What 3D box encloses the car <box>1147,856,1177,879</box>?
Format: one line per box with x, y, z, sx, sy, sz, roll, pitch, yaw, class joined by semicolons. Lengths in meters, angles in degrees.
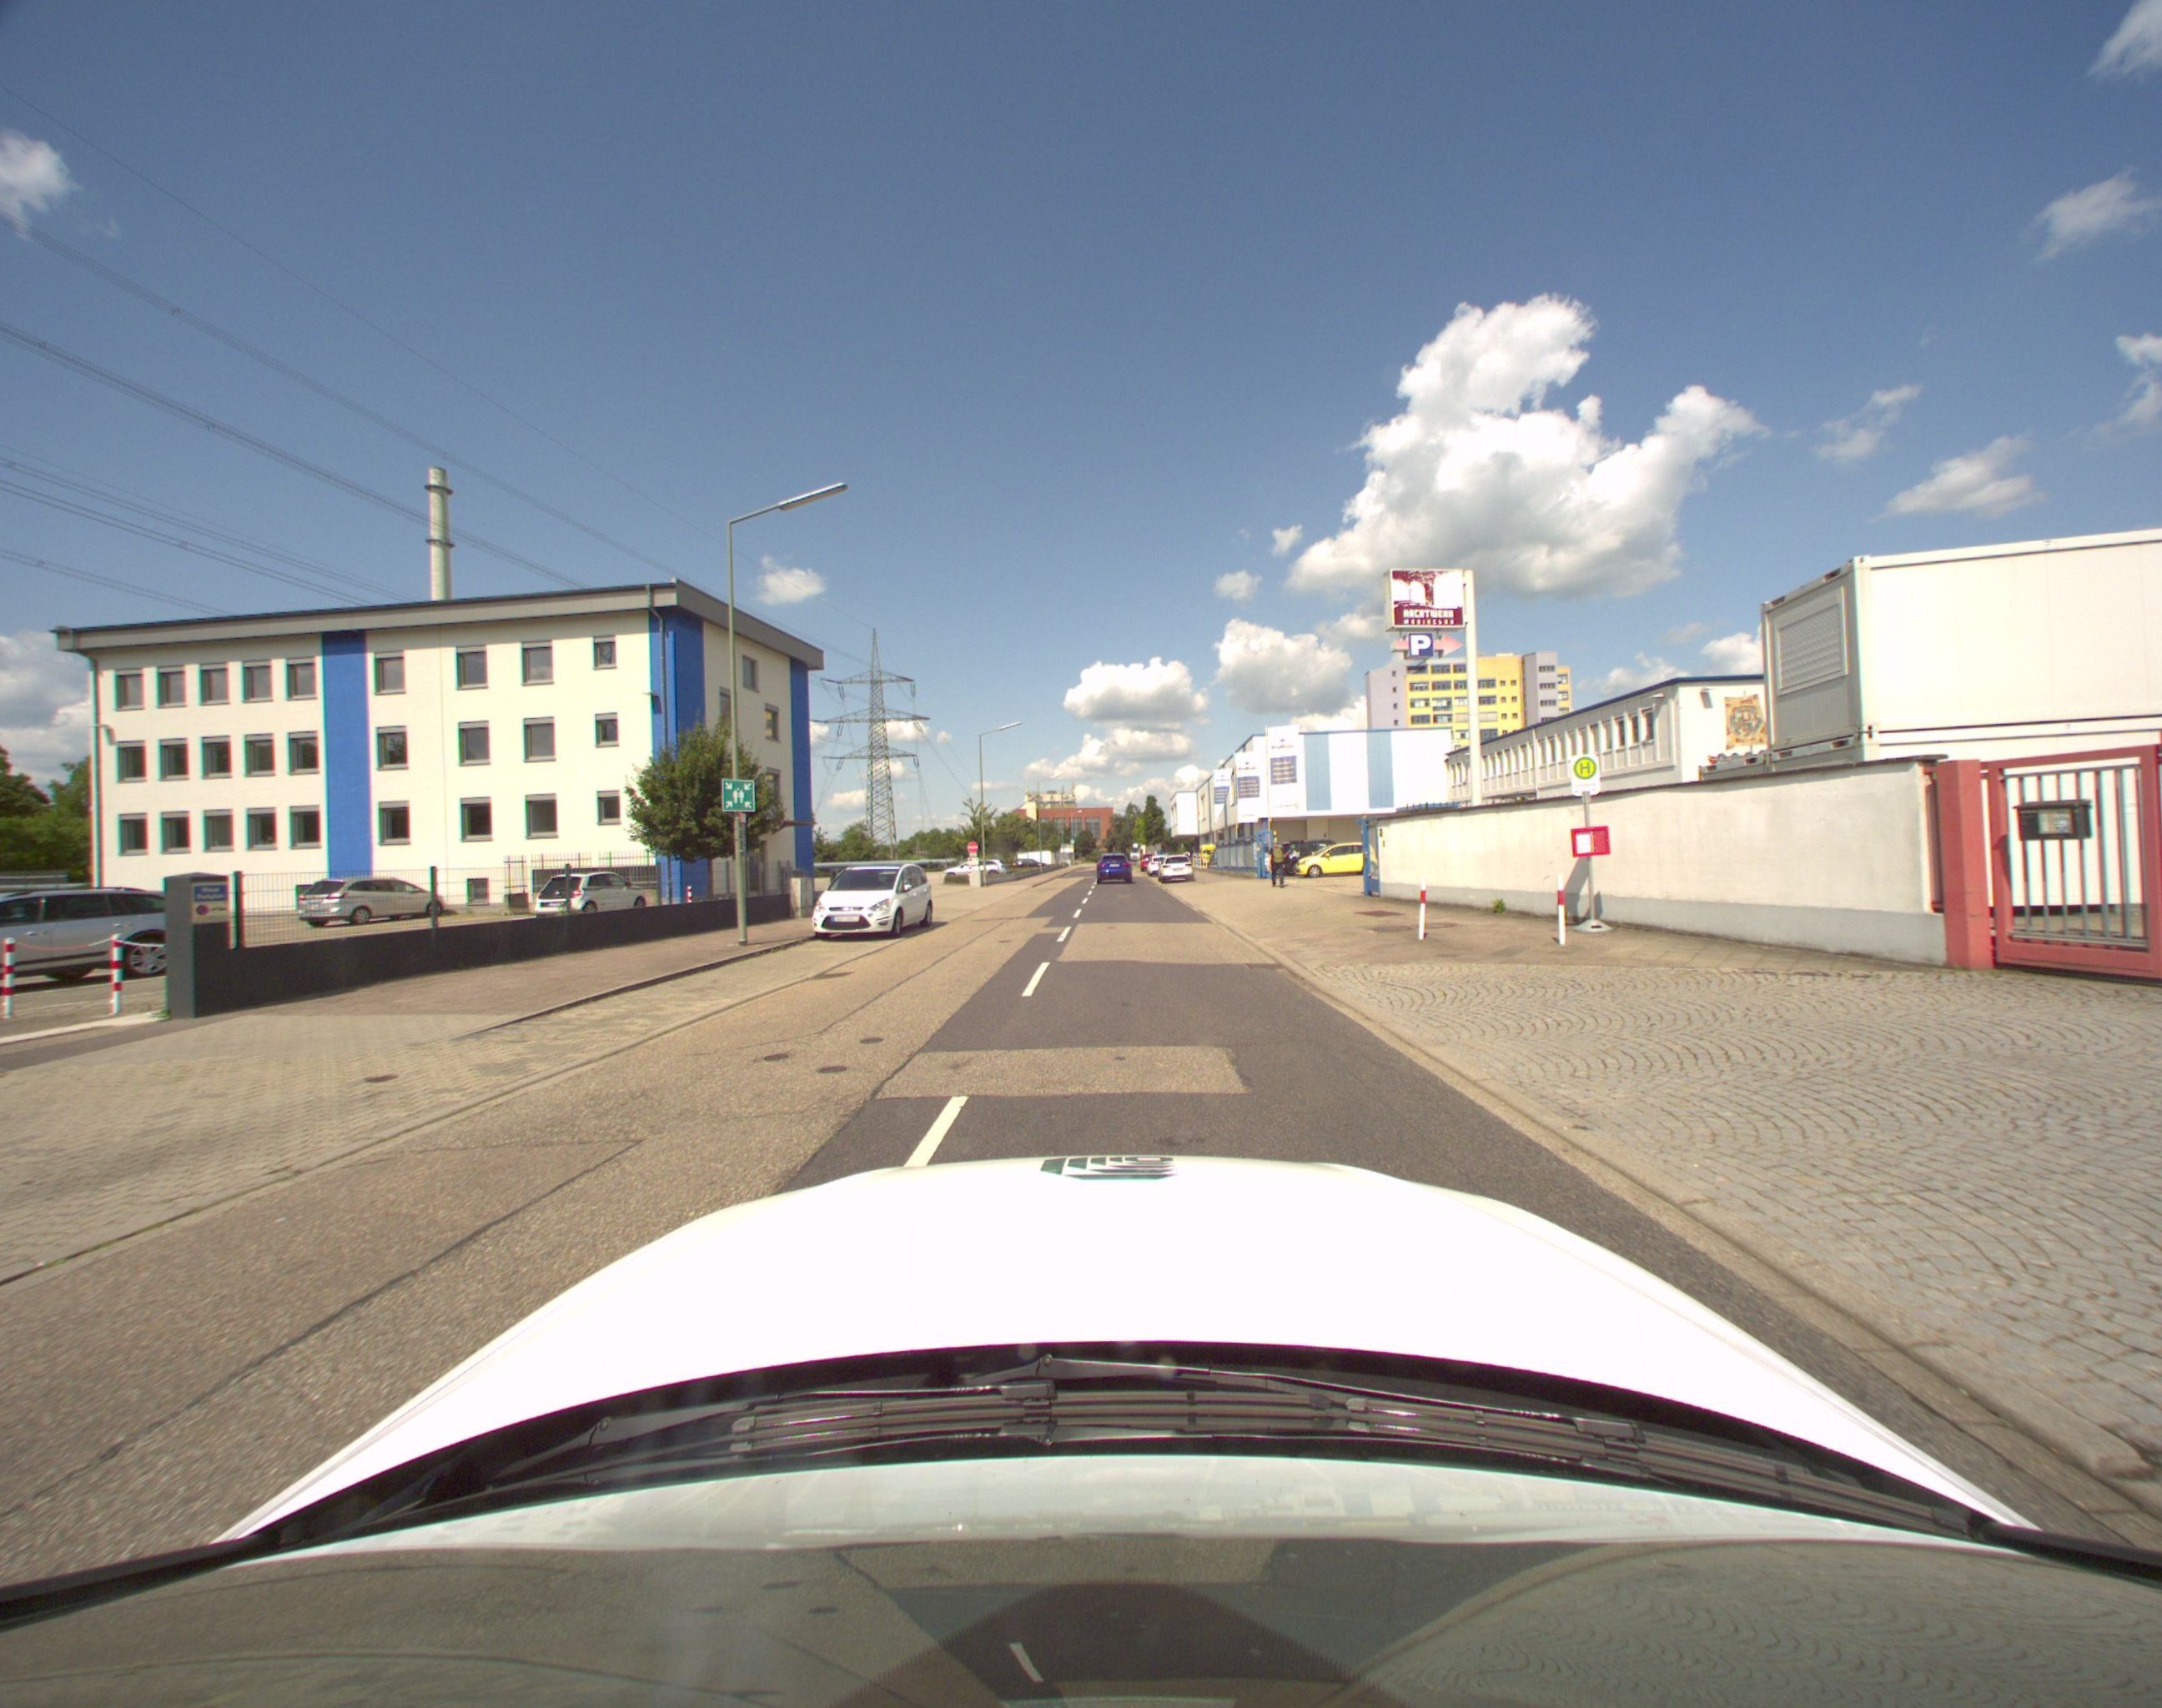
5.729;0.926;57.934;1.828;1.520;4.463;-1;-1;2;car

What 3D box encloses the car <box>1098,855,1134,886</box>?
1.945;0.924;45.738;1.902;1.593;4.703;-1;-1;2;car

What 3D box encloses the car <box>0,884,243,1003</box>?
-16.482;1.381;12.505;1.814;1.636;4.855;-3;-1;8;car

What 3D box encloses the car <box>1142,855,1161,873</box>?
6.645;0.919;77.009;1.747;1.651;4.682;-2;-1;4;car

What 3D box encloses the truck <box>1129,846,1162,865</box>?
13.019;0.275;163.109;2.298;3.567;9.427;-1;1;33;truck

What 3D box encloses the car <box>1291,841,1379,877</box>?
11.309;0.242;36.470;3.391;1.490;1.792;-1;-1;1;car

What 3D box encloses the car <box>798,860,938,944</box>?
-4.796;1.010;19.081;1.860;1.708;4.754;-1;-1;2;car

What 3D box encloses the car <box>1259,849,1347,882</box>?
11.251;0.566;41.451;3.971;1.420;2.001;-3;0;2;car

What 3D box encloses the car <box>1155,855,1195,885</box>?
5.178;0.861;45.368;1.860;1.520;4.599;-1;-1;2;car

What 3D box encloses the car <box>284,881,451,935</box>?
-25.753;1.900;29.639;1.814;1.655;4.453;-3;-1;7;car

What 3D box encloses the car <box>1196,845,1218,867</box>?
14.613;0.278;94.458;1.916;2.464;5.262;-1;-1;2;car

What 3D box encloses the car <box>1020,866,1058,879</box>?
-4.696;2.070;91.600;3.971;1.376;1.804;-2;0;2;car

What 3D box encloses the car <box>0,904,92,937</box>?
-40.528;2.545;30.589;1.757;1.076;3.910;-3;-1;7;car

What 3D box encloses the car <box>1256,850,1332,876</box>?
13.379;0.546;51.344;4.262;1.420;2.001;-3;0;2;car

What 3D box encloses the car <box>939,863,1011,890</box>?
-7.411;1.594;57.524;4.742;1.602;1.999;-3;-1;-2;car

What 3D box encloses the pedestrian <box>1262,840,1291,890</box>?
7.122;0.397;29.648;0.766;1.756;0.787;-4;-1;1;pedestrian

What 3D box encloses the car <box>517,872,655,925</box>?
-16.140;1.410;26.788;1.862;1.507;3.767;-2;-1;8;car

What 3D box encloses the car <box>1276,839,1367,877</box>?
11.409;0.215;38.812;3.792;1.680;1.792;-1;-1;1;car
